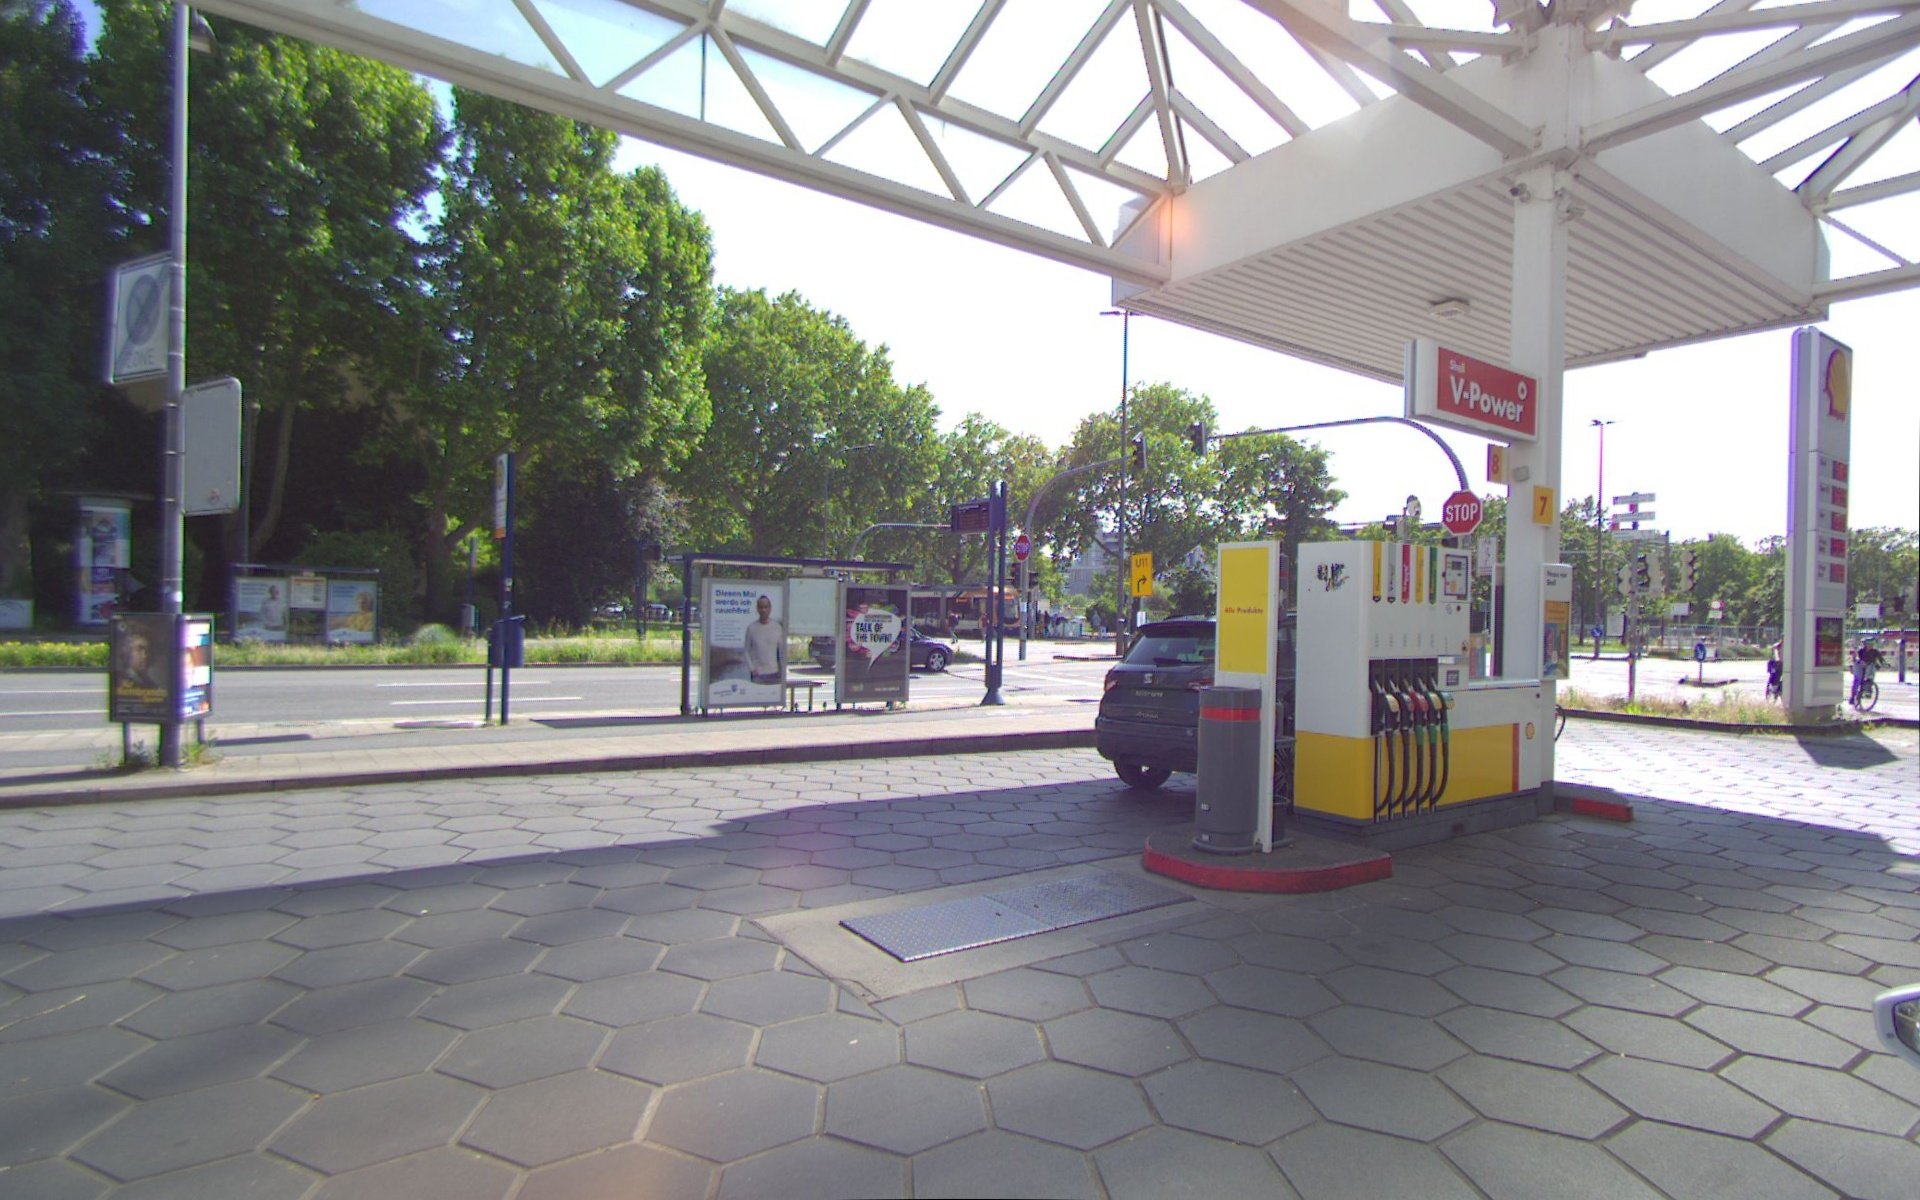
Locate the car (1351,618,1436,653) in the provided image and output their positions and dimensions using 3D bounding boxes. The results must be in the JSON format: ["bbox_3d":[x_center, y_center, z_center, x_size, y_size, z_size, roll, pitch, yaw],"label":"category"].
[{"bbox_3d":[26.379,2.151,61.245,4.361,2.040,2.000,1,-2,-3],"label":"car"}]

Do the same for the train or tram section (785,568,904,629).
[{"bbox_3d":[-9.759,-0.111,81.822,2.305,4.549,15.769,2,-1,-35],"label":"train or tram section"}]

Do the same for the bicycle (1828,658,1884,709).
[{"bbox_3d":[21.251,1.959,23.845,0.515,1.096,1.865,1,0,27],"label":"bicycle"}]

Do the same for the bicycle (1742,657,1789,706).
[{"bbox_3d":[19.543,1.956,24.353,2.013,1.096,0.631,2,0,-45],"label":"bicycle"}]

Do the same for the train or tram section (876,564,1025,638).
[{"bbox_3d":[-1.061,0.046,69.230,2.305,4.549,14.797,2,-1,-35],"label":"train or tram section"}]

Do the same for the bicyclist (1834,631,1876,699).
[{"bbox_3d":[21.250,1.533,23.857,0.525,1.564,0.864,2,0,28],"label":"bicyclist"}]

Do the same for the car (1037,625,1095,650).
[{"bbox_3d":[8.067,2.846,76.667,1.984,1.829,4.162,3,-3,-40],"label":"car"}]

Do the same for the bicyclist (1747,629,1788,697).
[{"bbox_3d":[19.601,1.513,24.387,0.631,1.601,1.166,1,0,45],"label":"bicyclist"}]

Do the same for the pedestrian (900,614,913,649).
[{"bbox_3d":[-3.170,1.867,59.422,0.691,2.013,0.741,1,-2,-5],"label":"pedestrian"}]

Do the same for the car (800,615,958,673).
[{"bbox_3d":[-2.178,1.187,27.313,3.963,1.385,1.668,2,1,-36],"label":"car"}]

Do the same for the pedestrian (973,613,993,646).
[{"bbox_3d":[1.266,1.614,54.826,0.678,1.745,0.865,-1,-3,44],"label":"pedestrian"}]

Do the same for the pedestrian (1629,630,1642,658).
[{"bbox_3d":[37.281,2.413,55.448,0.555,1.488,0.512,1,0,31],"label":"pedestrian"}]

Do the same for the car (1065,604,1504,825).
[{"bbox_3d":[2.999,0.892,8.967,3.961,1.552,1.732,3,-2,-36],"label":"car"}]

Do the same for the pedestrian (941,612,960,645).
[{"bbox_3d":[-0.499,1.516,53.132,0.779,1.696,0.555,2,-3,-39],"label":"pedestrian"}]

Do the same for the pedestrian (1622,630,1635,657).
[{"bbox_3d":[37.694,2.439,56.638,0.555,1.488,0.512,1,0,31],"label":"pedestrian"}]

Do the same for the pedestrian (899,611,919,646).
[{"bbox_3d":[-2.705,1.514,53.294,0.758,1.881,0.723,0,-2,27],"label":"pedestrian"}]
